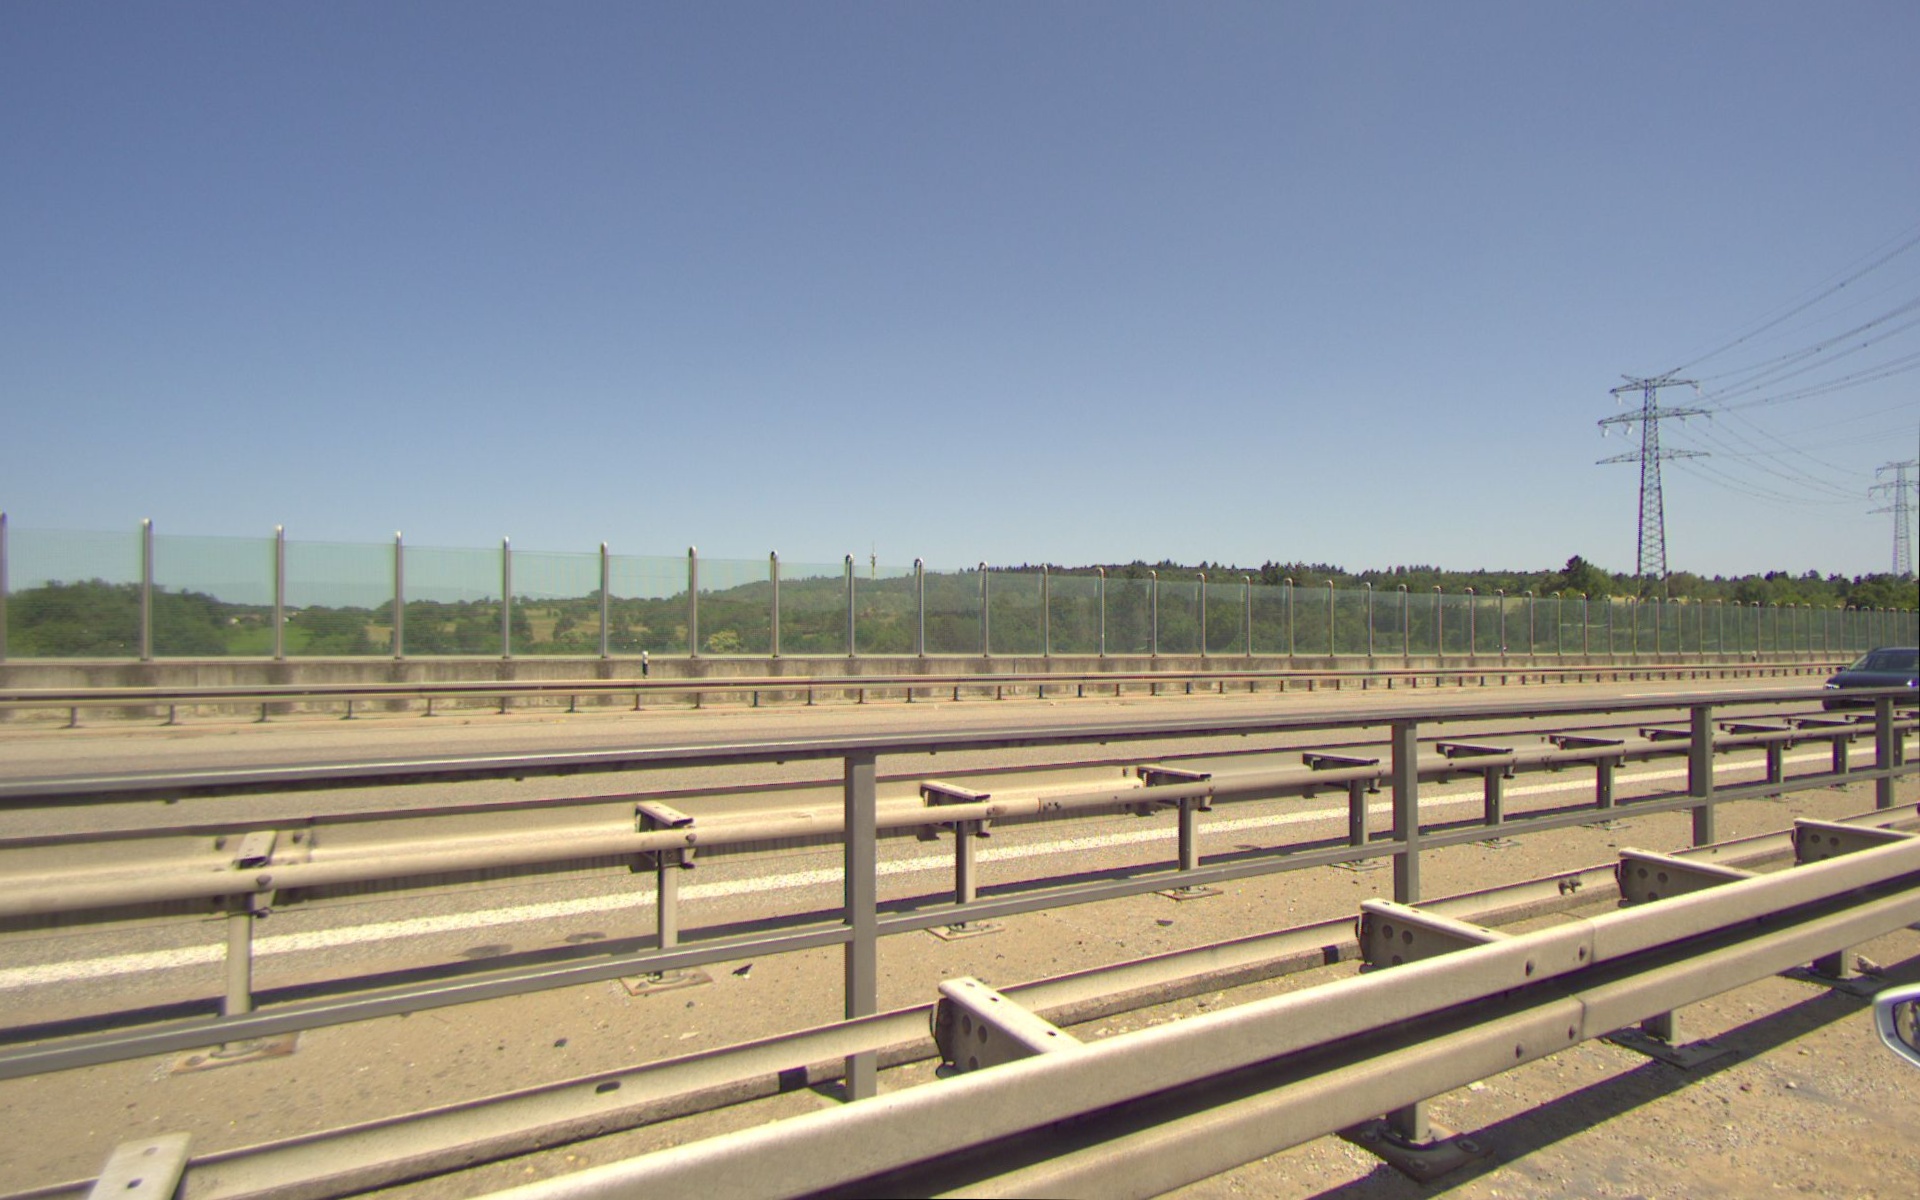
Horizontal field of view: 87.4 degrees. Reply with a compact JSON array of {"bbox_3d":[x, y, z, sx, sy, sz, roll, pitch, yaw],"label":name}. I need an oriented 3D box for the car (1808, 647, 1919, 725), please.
[{"bbox_3d":[19.450,1.711,20.673,4.216,1.438,1.759,2,-2,-30],"label":"car"}]
